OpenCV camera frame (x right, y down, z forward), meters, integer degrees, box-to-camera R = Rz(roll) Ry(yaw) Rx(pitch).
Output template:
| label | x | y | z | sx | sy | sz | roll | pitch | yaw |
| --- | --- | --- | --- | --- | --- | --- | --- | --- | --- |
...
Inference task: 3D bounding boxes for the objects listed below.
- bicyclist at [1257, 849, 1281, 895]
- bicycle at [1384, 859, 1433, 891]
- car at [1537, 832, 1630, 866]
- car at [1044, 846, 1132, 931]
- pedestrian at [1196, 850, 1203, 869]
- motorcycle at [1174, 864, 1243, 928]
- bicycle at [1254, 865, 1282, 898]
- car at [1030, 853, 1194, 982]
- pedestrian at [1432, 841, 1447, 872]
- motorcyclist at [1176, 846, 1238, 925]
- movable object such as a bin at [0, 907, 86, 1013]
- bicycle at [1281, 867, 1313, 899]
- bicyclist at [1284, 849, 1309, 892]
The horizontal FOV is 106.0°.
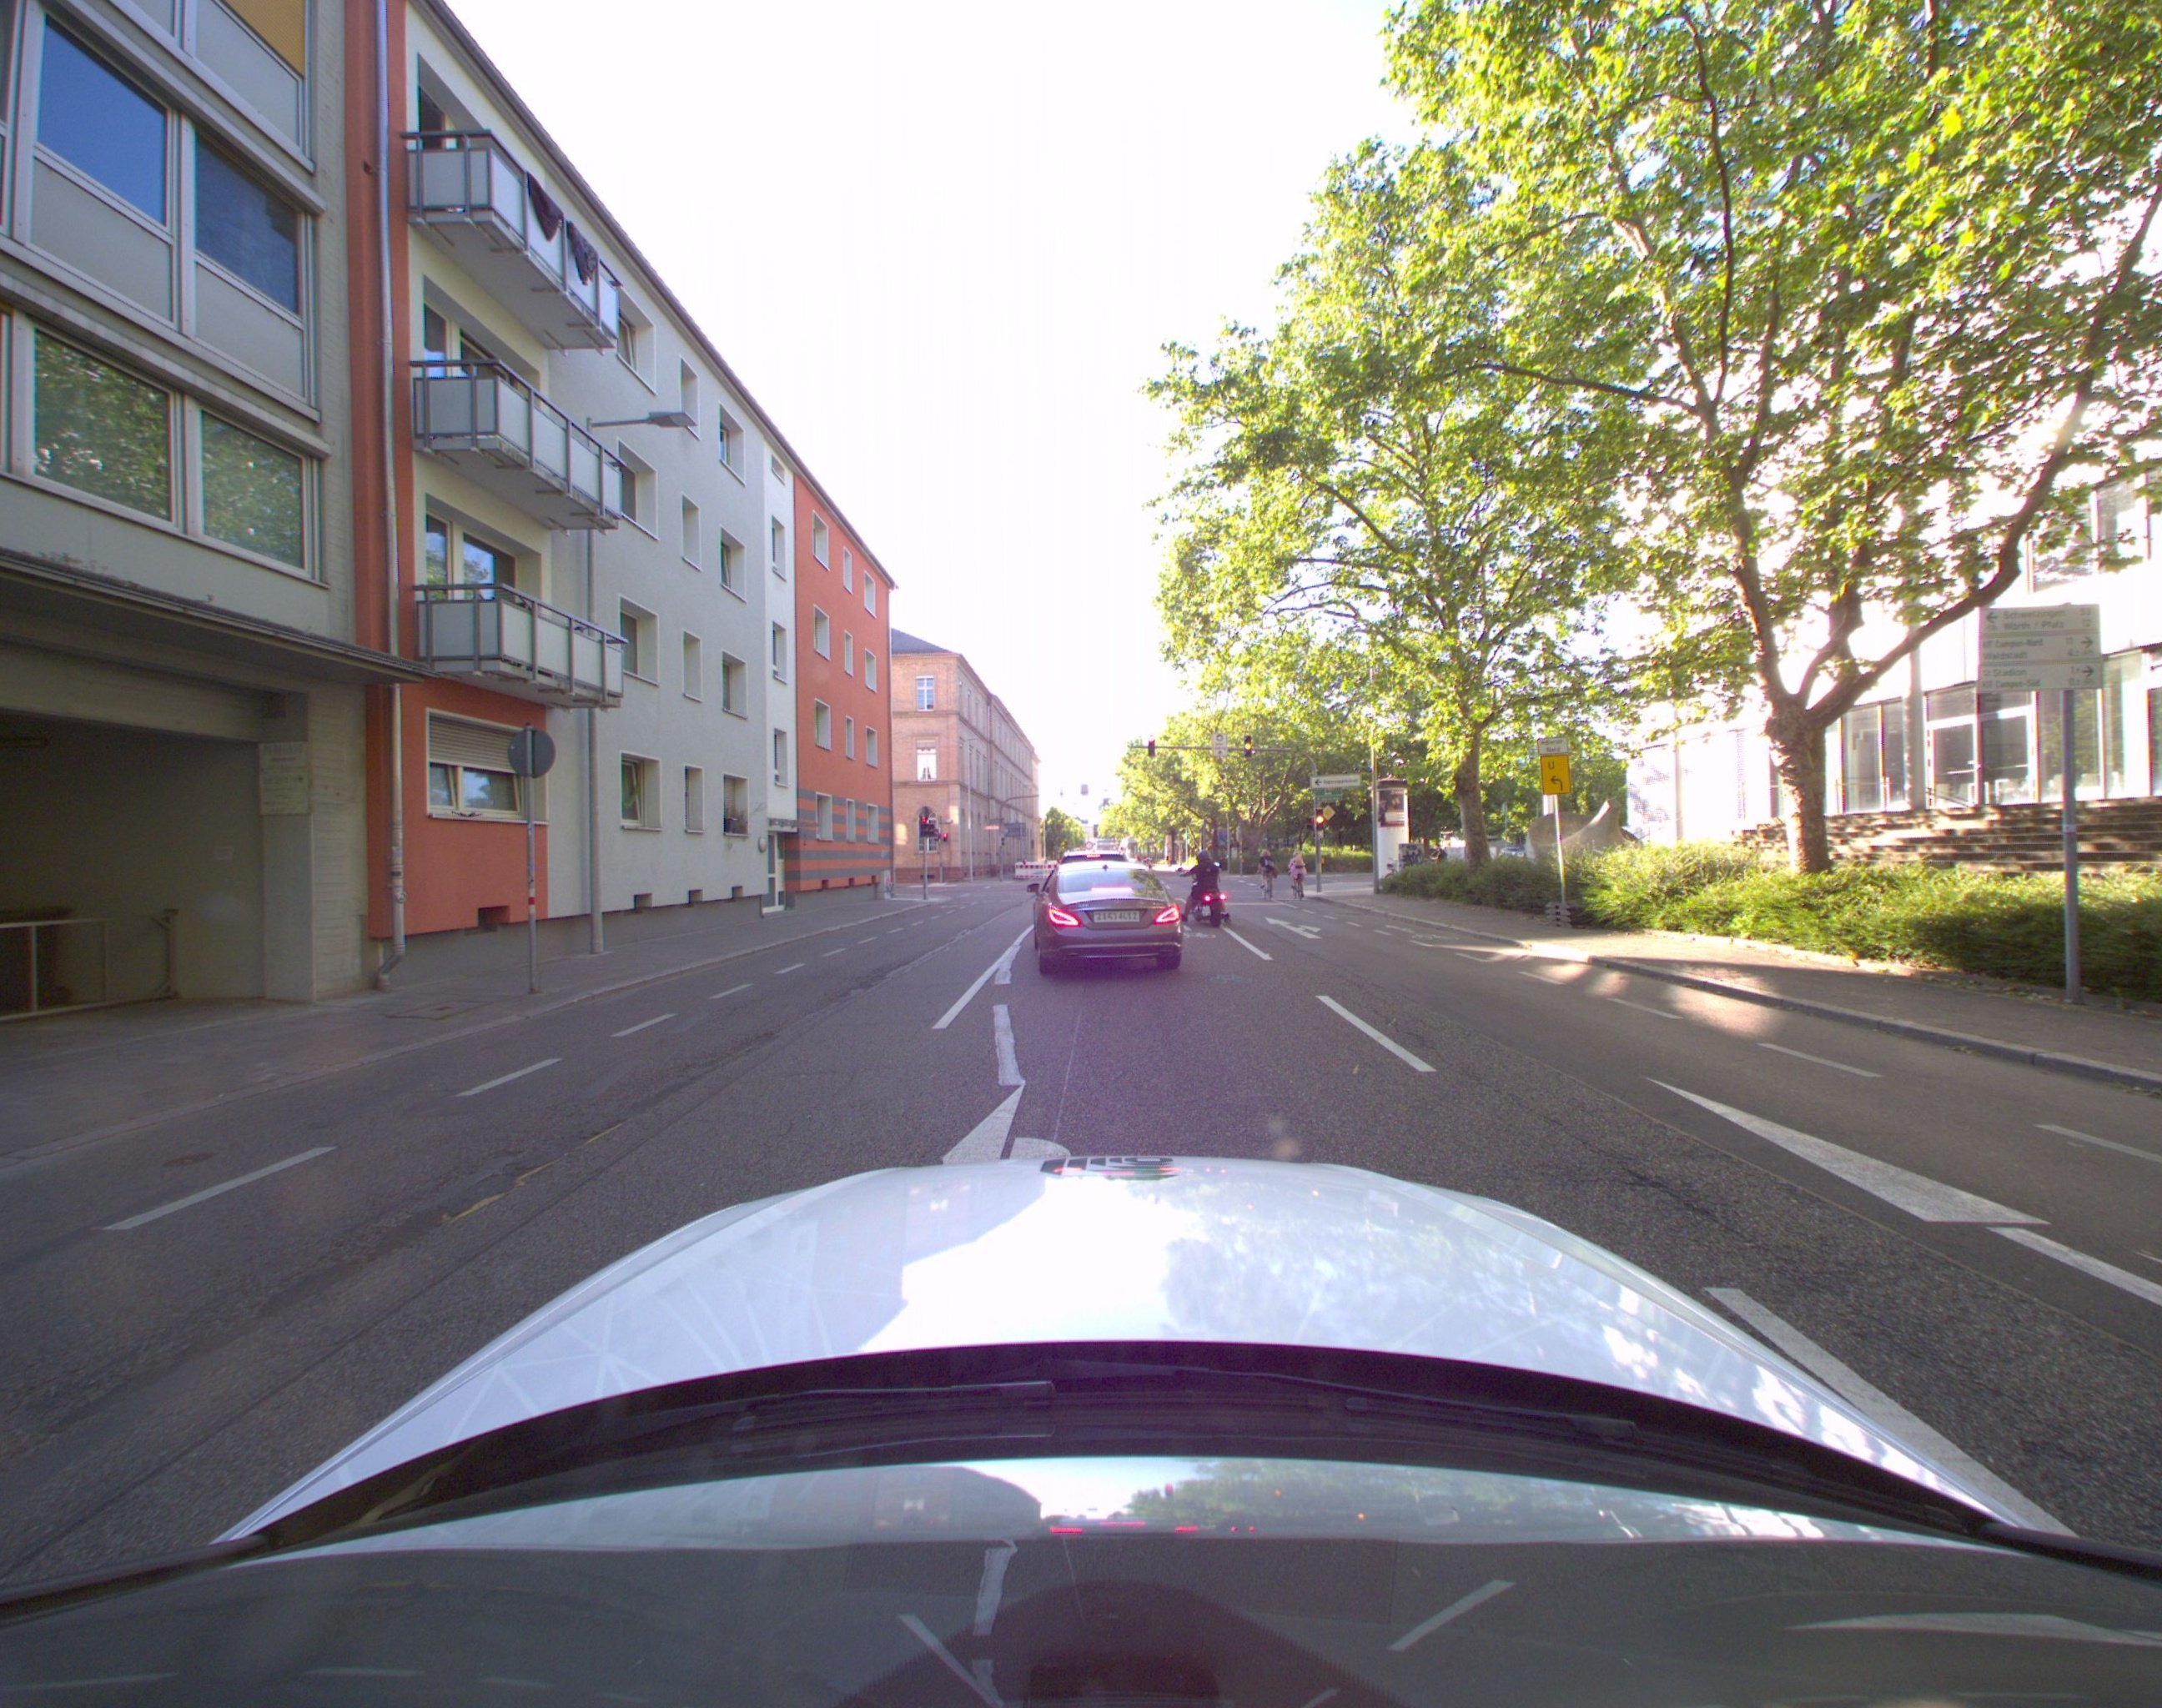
| label | x | y | z | sx | sy | sz | roll | pitch | yaw |
| --- | --- | --- | --- | --- | --- | --- | --- | --- | --- |
| bicyclist | 6.239 | 0.596 | 27.081 | 0.608 | 1.516 | 0.890 | 0 | 0 | 2 |
| bicycle | 10.983 | 0.705 | 27.343 | 1.411 | 1.037 | 0.538 | -1 | 0 | -2 |
| car | 28.028 | -0.257 | 45.537 | 3.975 | 1.784 | 2.004 | -1 | 0 | 7 |
| car | 0.160 | 0.677 | 17.707 | 1.676 | 1.625 | 3.841 | -1 | 0 | 1 |
| pedestrian | 10.498 | 0.498 | 72.150 | 0.557 | 1.678 | 0.565 | -1 | 0 | 1 |
| motorcycle | 2.686 | 0.847 | 17.494 | 1.004 | 1.204 | 2.664 | -1 | 0 | -1 |
| bicycle | 6.238 | 0.911 | 27.223 | 0.608 | 1.026 | 1.732 | 0 | 0 | 2 |
| car | 0.240 | 0.750 | 11.767 | 1.818 | 1.476 | 4.346 | -1 | 0 | -5 |
| pedestrian | 21.058 | 0.155 | 47.886 | 0.617 | 1.784 | 0.631 | -1 | 0 | 4 |
| motorcyclist | 2.681 | 0.655 | 17.518 | 1.110 | 1.613 | 1.202 | -1 | 0 | -1 |
| movable object such as a bin | -11.301 | 1.107 | 8.642 | 0.584 | 1.040 | 0.712 | -1 | 0 | 2 |
| bicycle | 7.129 | 0.951 | 26.935 | 0.598 | 0.985 | 1.882 | 1 | 0 | 2 |
| bicyclist | 7.141 | 0.534 | 26.955 | 0.598 | 1.402 | 0.931 | 1 | 0 | 2 |
